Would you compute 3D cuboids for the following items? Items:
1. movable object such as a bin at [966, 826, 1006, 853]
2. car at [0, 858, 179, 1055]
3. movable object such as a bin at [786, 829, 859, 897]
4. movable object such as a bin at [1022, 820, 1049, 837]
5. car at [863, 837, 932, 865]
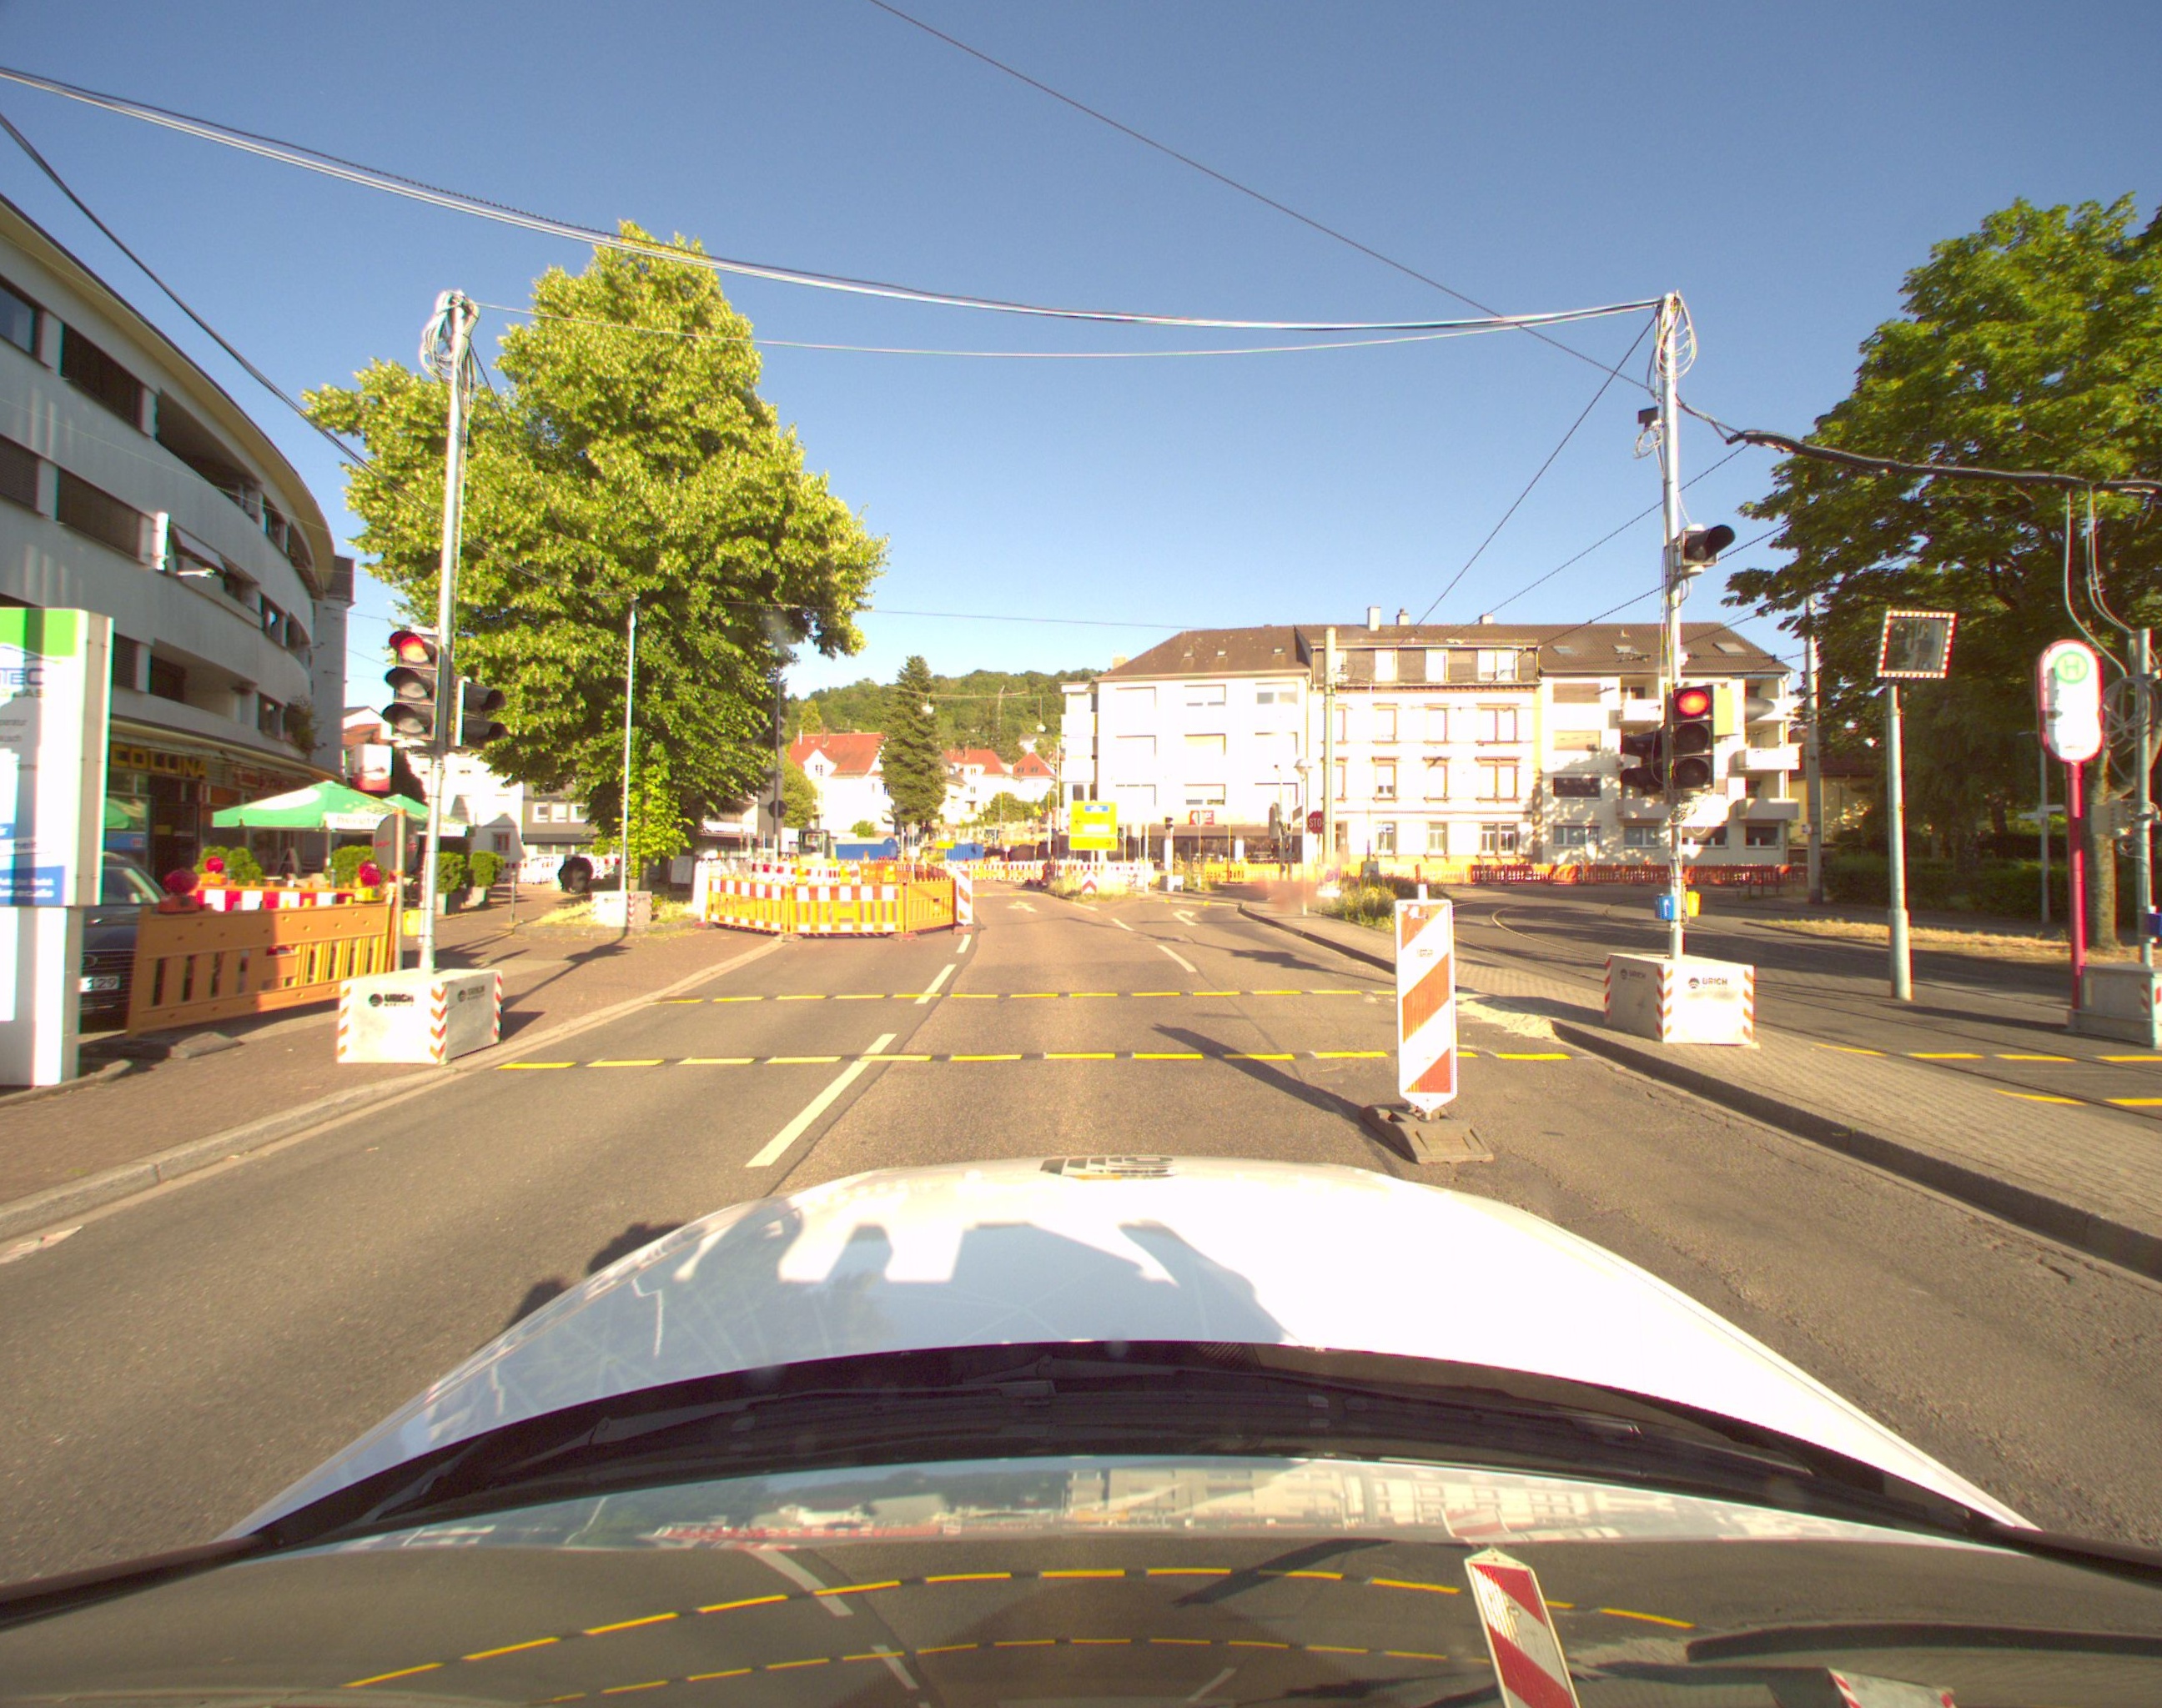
[{"bbox_3d":[-9.237,-1.341,79.397,1.932,2.494,4.574,-1,-1,20],"label":"movable object such as a bin"},{"bbox_3d":[-9.318,0.782,7.313,3.835,1.438,1.606,-1,0,42],"label":"car"},{"bbox_3d":[-9.393,0.304,29.879,1.643,2.324,3.916,0,0,-3],"label":"movable object such as a bin"},{"bbox_3d":[-6.414,-3.585,115.297,2.549,2.122,5.801,-1,-1,11],"label":"movable object such as a bin"},{"bbox_3d":[-14.936,-0.221,66.710,2.562,2.121,6.181,-1,-1,20],"label":"car"}]
